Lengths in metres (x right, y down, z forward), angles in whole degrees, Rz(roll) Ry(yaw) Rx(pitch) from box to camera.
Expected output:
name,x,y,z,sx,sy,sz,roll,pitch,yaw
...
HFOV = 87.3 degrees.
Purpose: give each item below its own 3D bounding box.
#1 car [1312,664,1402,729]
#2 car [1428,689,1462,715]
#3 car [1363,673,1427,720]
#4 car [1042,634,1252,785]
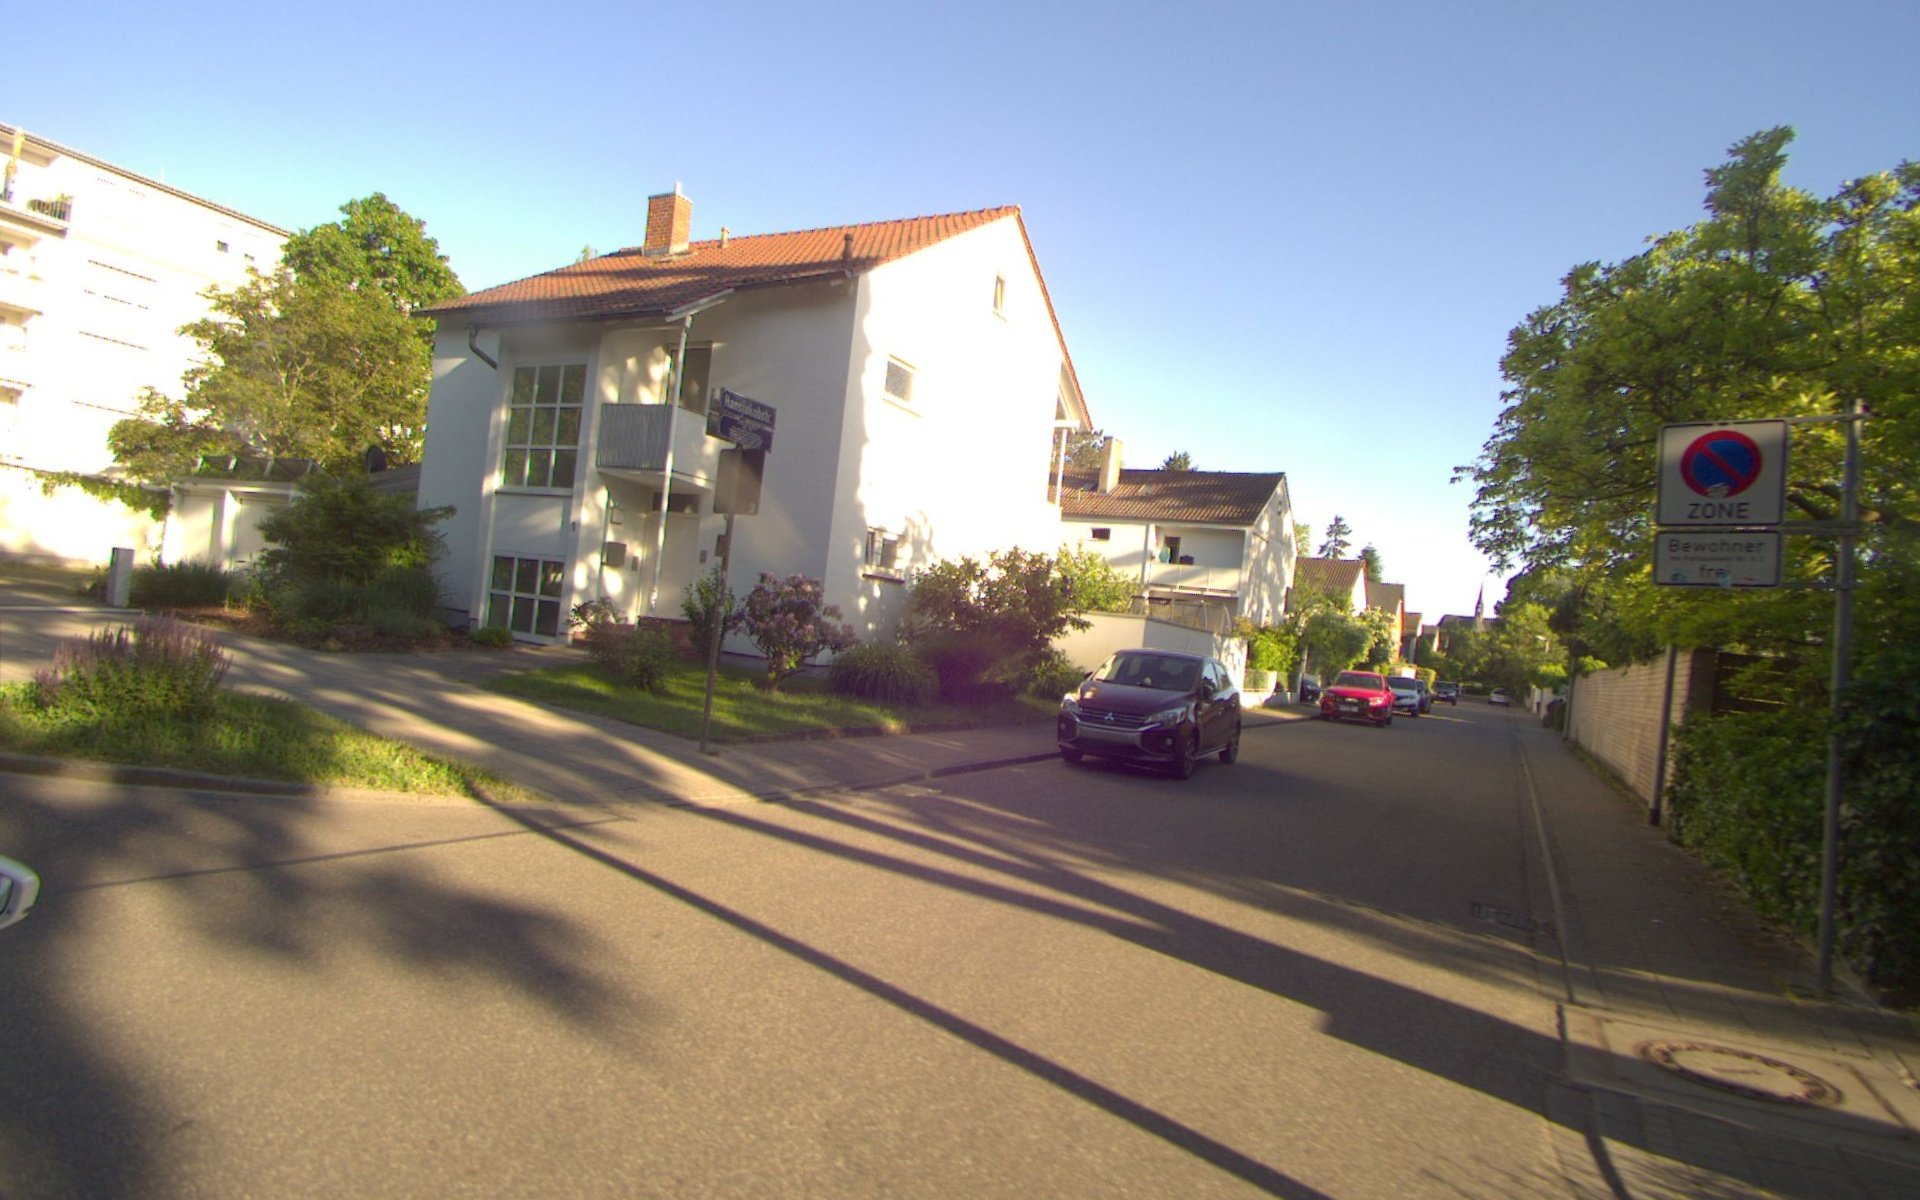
name,x,y,z,sx,sy,sz,roll,pitch,yaw
car,12.143,2.959,30.583,1.919,1.641,4.051,4,-4,30
car,36.002,7.571,74.589,1.919,1.641,4.051,4,-4,30
car,17.933,3.995,41.359,1.919,1.641,4.051,4,-4,30
car,2.594,1.397,13.240,1.661,1.518,3.743,6,-3,26
